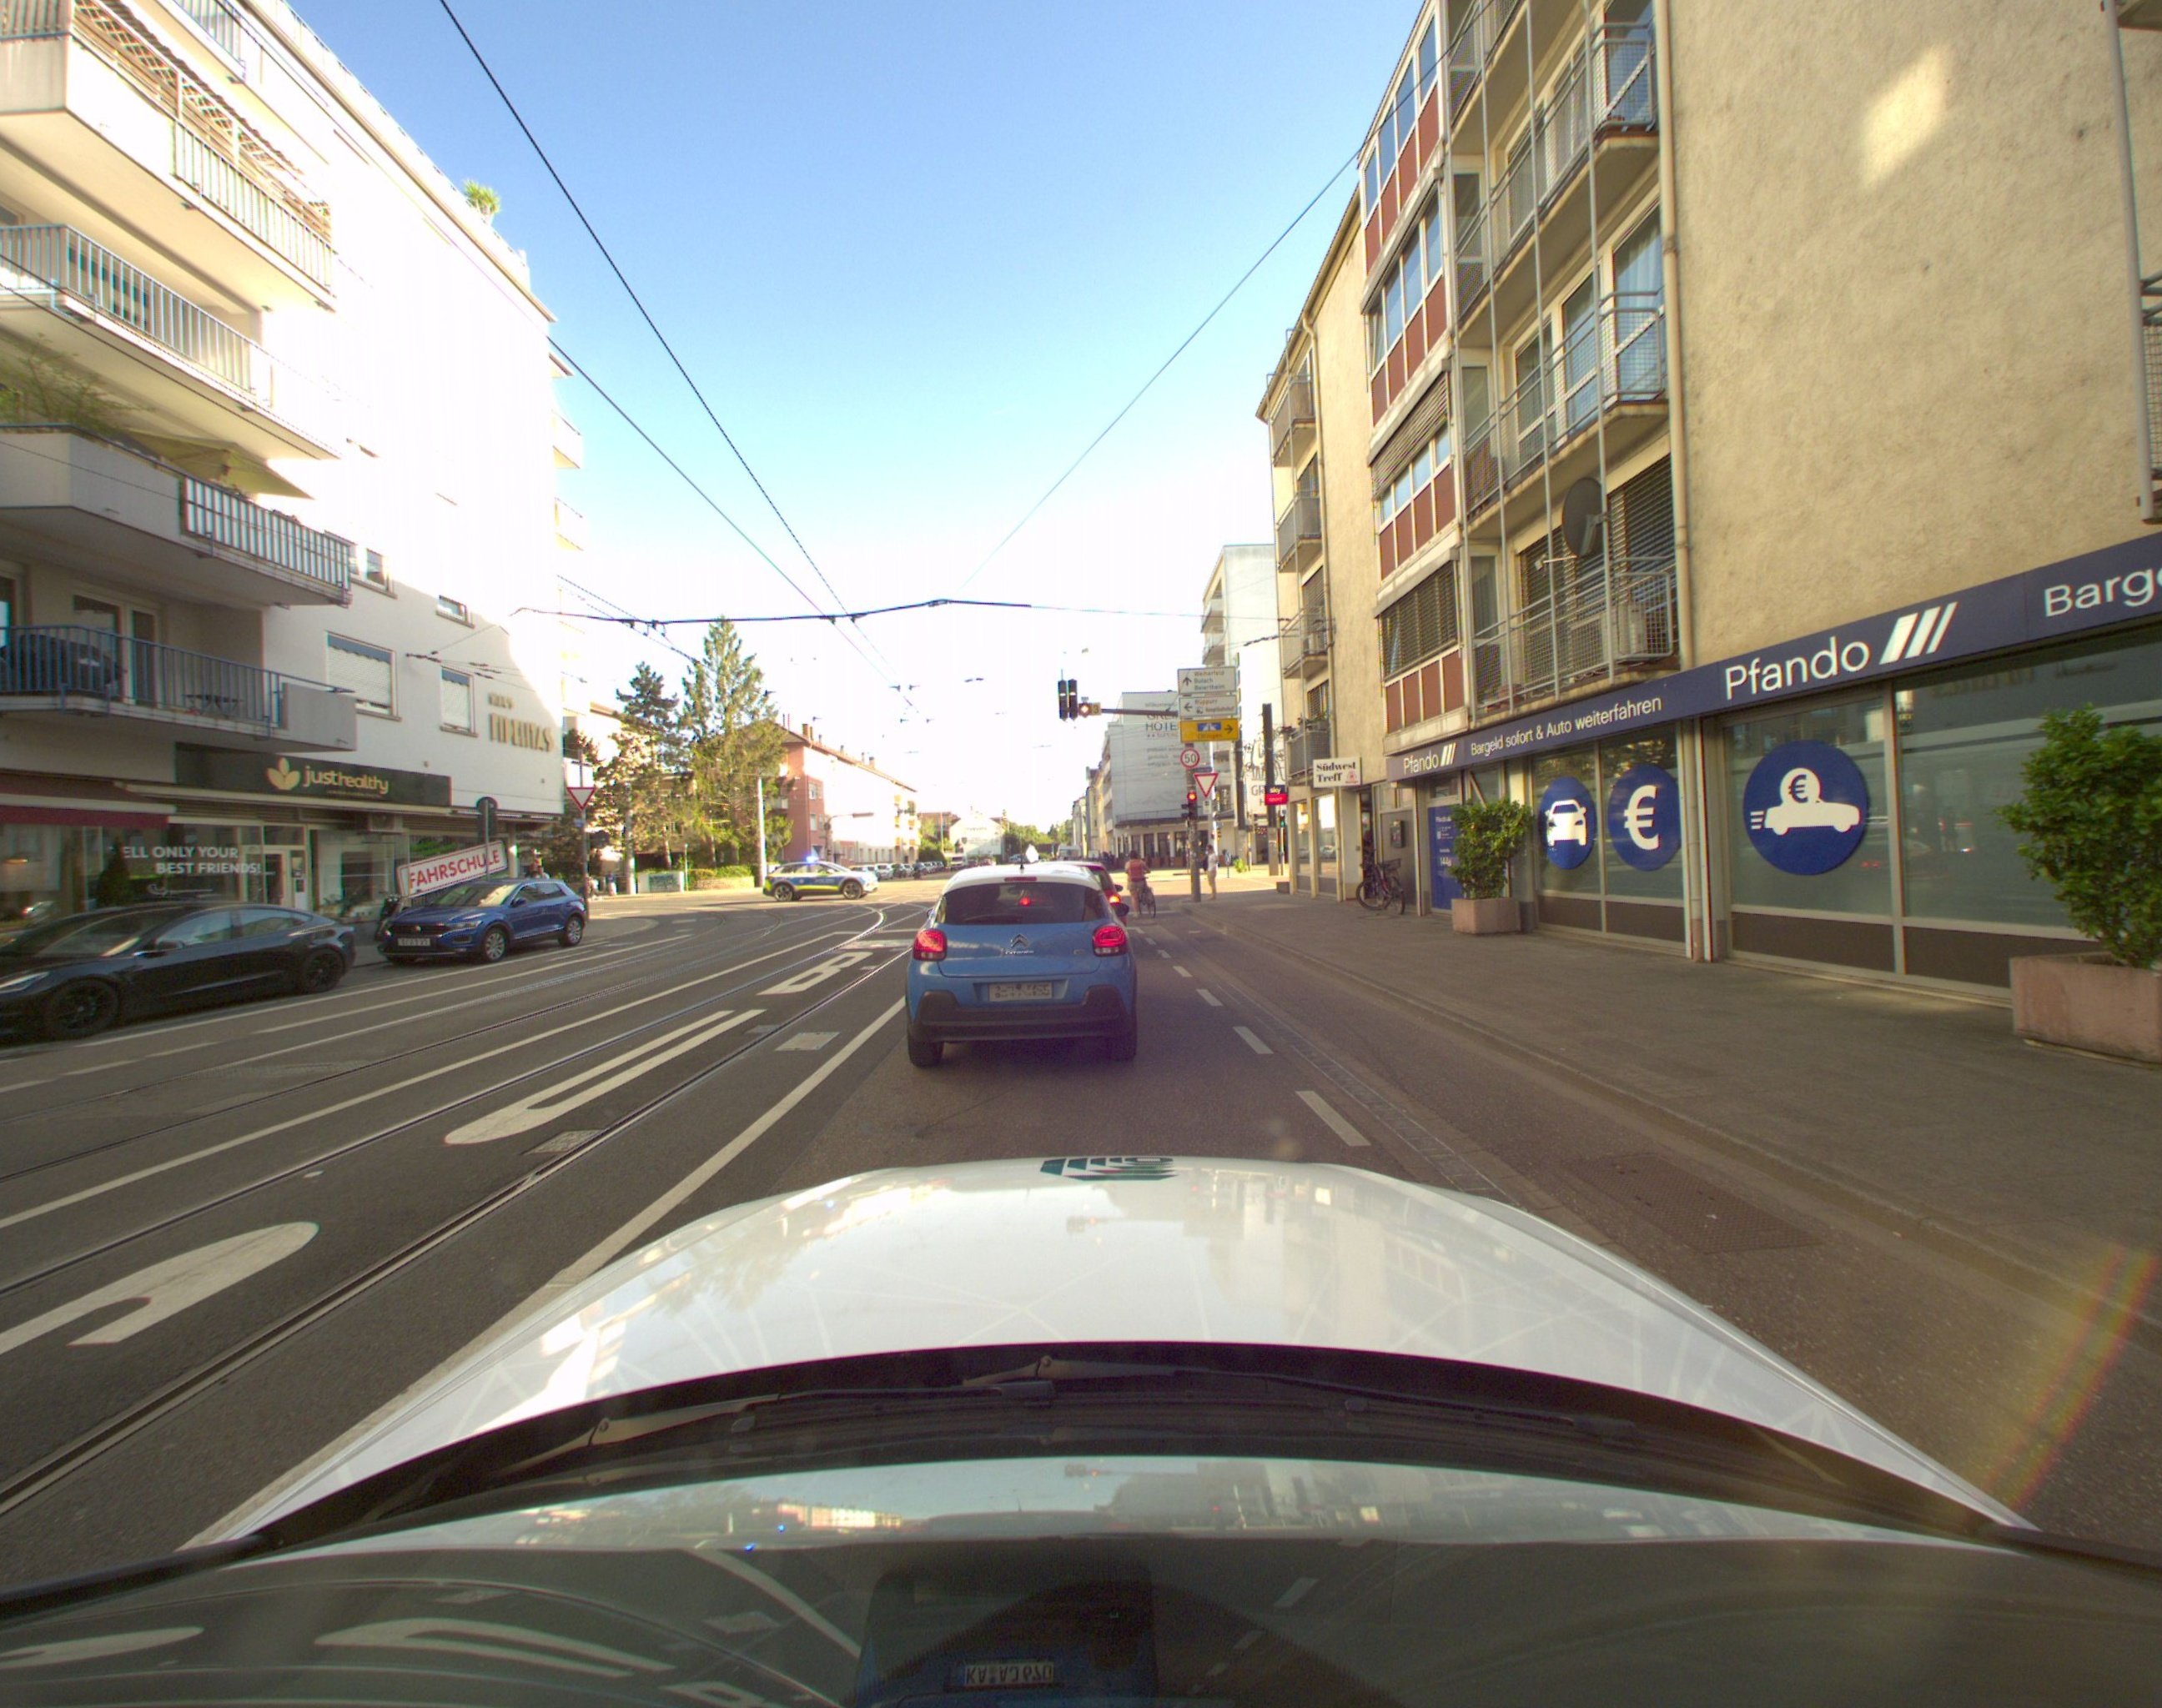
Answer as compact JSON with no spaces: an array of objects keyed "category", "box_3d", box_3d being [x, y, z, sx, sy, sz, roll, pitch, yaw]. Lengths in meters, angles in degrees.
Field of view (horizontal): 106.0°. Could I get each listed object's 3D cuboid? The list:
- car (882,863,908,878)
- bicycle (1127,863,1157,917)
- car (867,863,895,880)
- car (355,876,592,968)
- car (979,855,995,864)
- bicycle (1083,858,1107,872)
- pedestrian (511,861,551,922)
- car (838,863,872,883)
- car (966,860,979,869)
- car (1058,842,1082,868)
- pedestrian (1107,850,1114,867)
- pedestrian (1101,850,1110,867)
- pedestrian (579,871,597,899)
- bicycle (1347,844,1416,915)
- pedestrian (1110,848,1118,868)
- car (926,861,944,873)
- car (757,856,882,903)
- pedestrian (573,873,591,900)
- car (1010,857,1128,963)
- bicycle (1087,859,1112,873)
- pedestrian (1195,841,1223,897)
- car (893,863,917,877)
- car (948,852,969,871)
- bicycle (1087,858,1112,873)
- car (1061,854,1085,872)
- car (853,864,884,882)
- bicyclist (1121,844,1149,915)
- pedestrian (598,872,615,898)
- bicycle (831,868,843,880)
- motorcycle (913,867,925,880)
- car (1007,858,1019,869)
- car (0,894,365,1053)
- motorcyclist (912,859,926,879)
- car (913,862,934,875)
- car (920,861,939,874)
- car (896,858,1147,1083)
[{"category":"car","box_3d":[-19.728,1.740,86.523,1.947,1.519,3.995,-2,0,-4]},{"category":"bicycle","box_3d":[1.537,0.886,20.722,0.611,1.264,1.911,-2,0,2]},{"category":"car","box_3d":[-19.558,1.685,79.850,1.947,1.519,3.995,-2,0,-4]},{"category":"car","box_3d":[-11.874,1.245,16.320,1.720,1.505,4.113,0,0,-2]},{"category":"car","box_3d":[-17.621,0.980,152.532,2.010,1.627,5.023,-2,0,-17]},{"category":"bicycle","box_3d":[1.162,0.950,68.439,1.901,1.064,0.641,-2,0,-6]},{"category":"pedestrian","box_3d":[-17.283,1.172,25.591,0.761,1.834,0.725,-3,0,28]},{"category":"car","box_3d":[-19.288,1.601,69.614,1.947,1.519,3.995,-2,0,-4]},{"category":"car","box_3d":[-19.338,1.814,145.239,1.947,1.519,3.995,-2,0,-4]},{"category":"car","box_3d":[-1.037,0.084,73.443,2.074,2.269,5.647,-1,0,-2]},{"category":"pedestrian","box_3d":[2.526,0.376,70.113,0.467,1.420,0.524,-2,0,-11]},{"category":"pedestrian","box_3d":[2.106,0.393,70.375,0.520,1.420,0.550,-3,0,22]},{"category":"pedestrian","box_3d":[-31.249,1.965,51.634,0.812,1.702,0.602,-2,0,-22]},{"category":"bicycle","box_3d":[5.763,0.455,15.735,0.637,1.264,1.911,-2,0,2]},{"category":"pedestrian","box_3d":[2.899,0.351,71.207,0.554,1.647,0.536,-2,0,-14]},{"category":"car","box_3d":[-20.724,1.851,115.678,1.947,1.519,3.995,-2,0,-4]},{"category":"car","box_3d":[-10.755,1.027,33.768,4.524,1.684,1.790,-2,0,-3]},{"category":"pedestrian","box_3d":[-31.978,2.070,52.211,0.812,1.702,0.629,-2,0,-22]},{"category":"car","box_3d":[-0.222,0.809,13.703,1.675,1.462,3.997,-1,0,-2]},{"category":"bicycle","box_3d":[1.528,0.958,67.237,1.901,1.064,0.641,-2,0,-6]},{"category":"pedestrian","box_3d":[3.843,0.451,24.411,0.747,1.635,0.742,-2,0,7]},{"category":"car","box_3d":[-19.980,1.790,92.591,1.947,1.519,3.995,-2,0,-4]},{"category":"car","box_3d":[-18.126,1.102,120.570,2.489,2.712,5.828,-2,0,-5]},{"category":"bicycle","box_3d":[1.519,0.927,65.931,1.901,1.064,0.641,-2,0,-6]},{"category":"car","box_3d":[-0.713,0.739,67.981,1.783,1.359,3.909,-2,0,-4]},{"category":"car","box_3d":[-19.569,1.718,75.238,1.947,1.519,4.040,-2,0,-4]},{"category":"bicyclist","box_3d":[1.373,0.631,20.689,0.598,1.746,1.084,-2,0,2]},{"category":"pedestrian","box_3d":[-32.429,2.107,55.682,0.810,1.702,0.677,-2,0,-15]},{"category":"bicycle","box_3d":[-22.714,1.862,75.797,0.608,1.082,1.908,-2,0,-4]},{"category":"motorcycle","box_3d":[-13.481,1.597,67.756,0.751,0.976,2.092,-2,0,-7]},{"category":"car","box_3d":[-14.267,1.976,171.406,2.333,2.039,5.044,-2,0,-4]},{"category":"car","box_3d":[-11.979,1.332,10.417,1.720,1.403,4.486,0,0,-2]},{"category":"motorcyclist","box_3d":[-13.472,1.269,67.688,0.990,1.631,0.737,-2,0,-7]},{"category":"car","box_3d":[-20.096,1.800,104.033,1.947,1.519,3.995,-2,0,-4]},{"category":"car","box_3d":[-20.297,1.772,109.322,1.947,1.519,3.995,-2,0,-4]},{"category":"car","box_3d":[-0.448,0.790,7.495,1.675,1.462,3.997,-1,0,-2]}]
